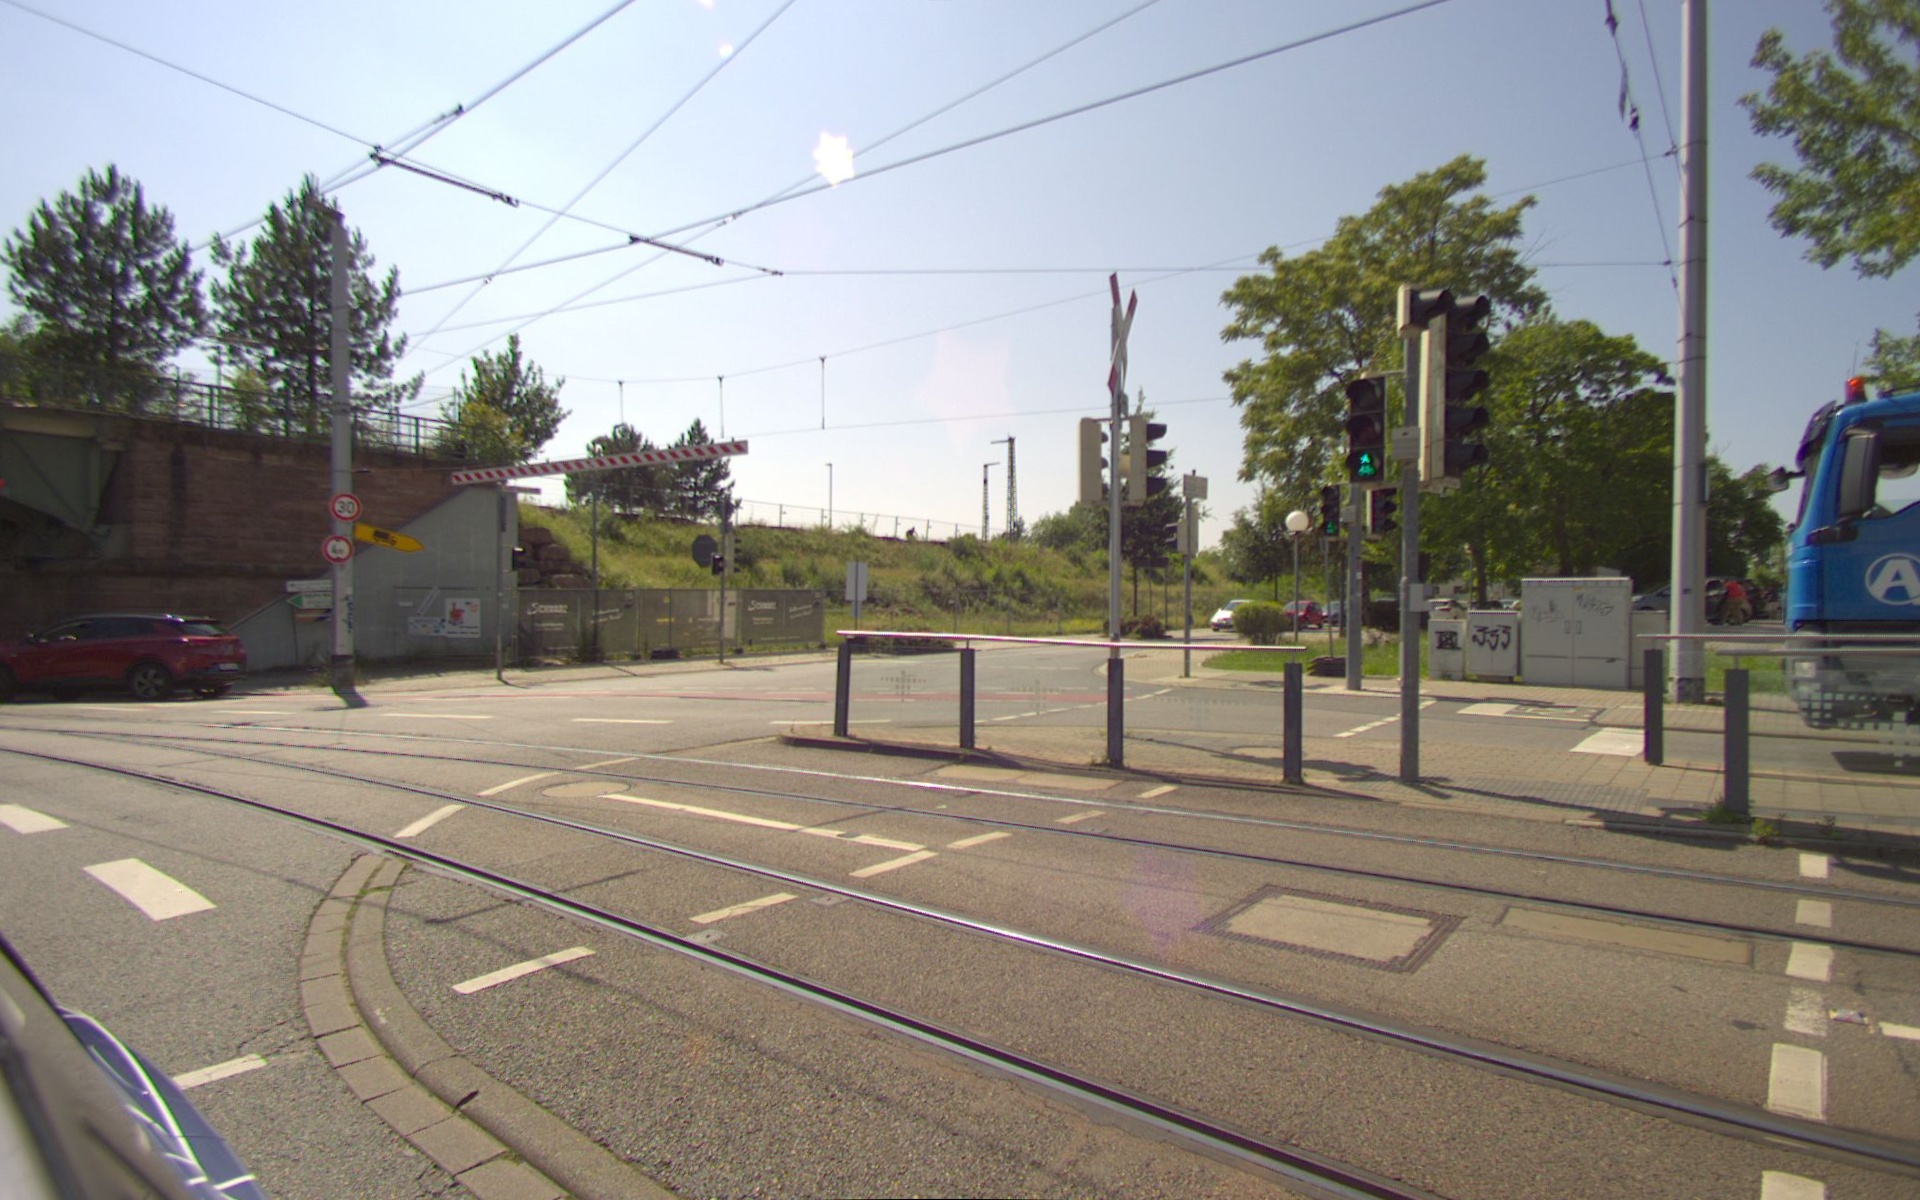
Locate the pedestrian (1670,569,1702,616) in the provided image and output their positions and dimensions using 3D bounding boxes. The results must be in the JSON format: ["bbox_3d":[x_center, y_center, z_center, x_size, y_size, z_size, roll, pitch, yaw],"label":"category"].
[{"bbox_3d":[23.797,-0.233,33.177,0.743,1.539,0.566,0,-1,-27],"label":"pedestrian"}]

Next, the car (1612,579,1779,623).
[{"bbox_3d":[28.023,0.068,38.718,4.761,1.504,1.848,-2,-1,9],"label":"car"}]

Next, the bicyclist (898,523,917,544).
[{"bbox_3d":[-3.807,-4.835,73.470,0.950,1.399,1.051,-3,-1,32],"label":"bicyclist"}]

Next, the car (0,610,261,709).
[{"bbox_3d":[-15.609,1.071,18.557,4.238,1.616,1.826,-1,-2,-8],"label":"car"}]

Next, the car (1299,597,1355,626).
[{"bbox_3d":[21.925,0.701,60.453,1.848,1.628,3.946,2,1,41],"label":"car"}]

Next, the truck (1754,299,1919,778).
[{"bbox_3d":[9.330,-0.480,7.726,5.035,3.636,2.716,-1,-2,40],"label":"truck"}]

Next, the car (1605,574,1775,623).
[{"bbox_3d":[22.891,-0.017,31.927,3.960,1.348,1.707,-2,-1,20],"label":"car"}]

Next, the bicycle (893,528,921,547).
[{"bbox_3d":[-3.805,-4.499,73.446,0.934,1.222,2.151,-3,-1,32],"label":"bicycle"}]

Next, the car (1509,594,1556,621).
[{"bbox_3d":[35.335,0.473,62.462,1.814,1.527,3.947,-3,-2,40],"label":"car"}]

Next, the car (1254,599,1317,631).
[{"bbox_3d":[17.549,0.798,54.475,1.848,1.628,3.946,2,1,41],"label":"car"}]

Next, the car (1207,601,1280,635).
[{"bbox_3d":[14.456,0.893,51.477,1.848,1.628,4.310,3,1,41],"label":"car"}]

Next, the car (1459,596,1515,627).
[{"bbox_3d":[27.908,0.616,53.538,1.814,1.527,3.947,-3,-2,40],"label":"car"}]

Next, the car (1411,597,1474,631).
[{"bbox_3d":[22.974,0.643,48.117,1.765,1.504,3.947,-3,-2,40],"label":"car"}]

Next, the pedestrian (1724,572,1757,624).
[{"bbox_3d":[23.505,-0.046,30.485,0.560,1.539,0.751,-1,-1,21],"label":"pedestrian"}]
